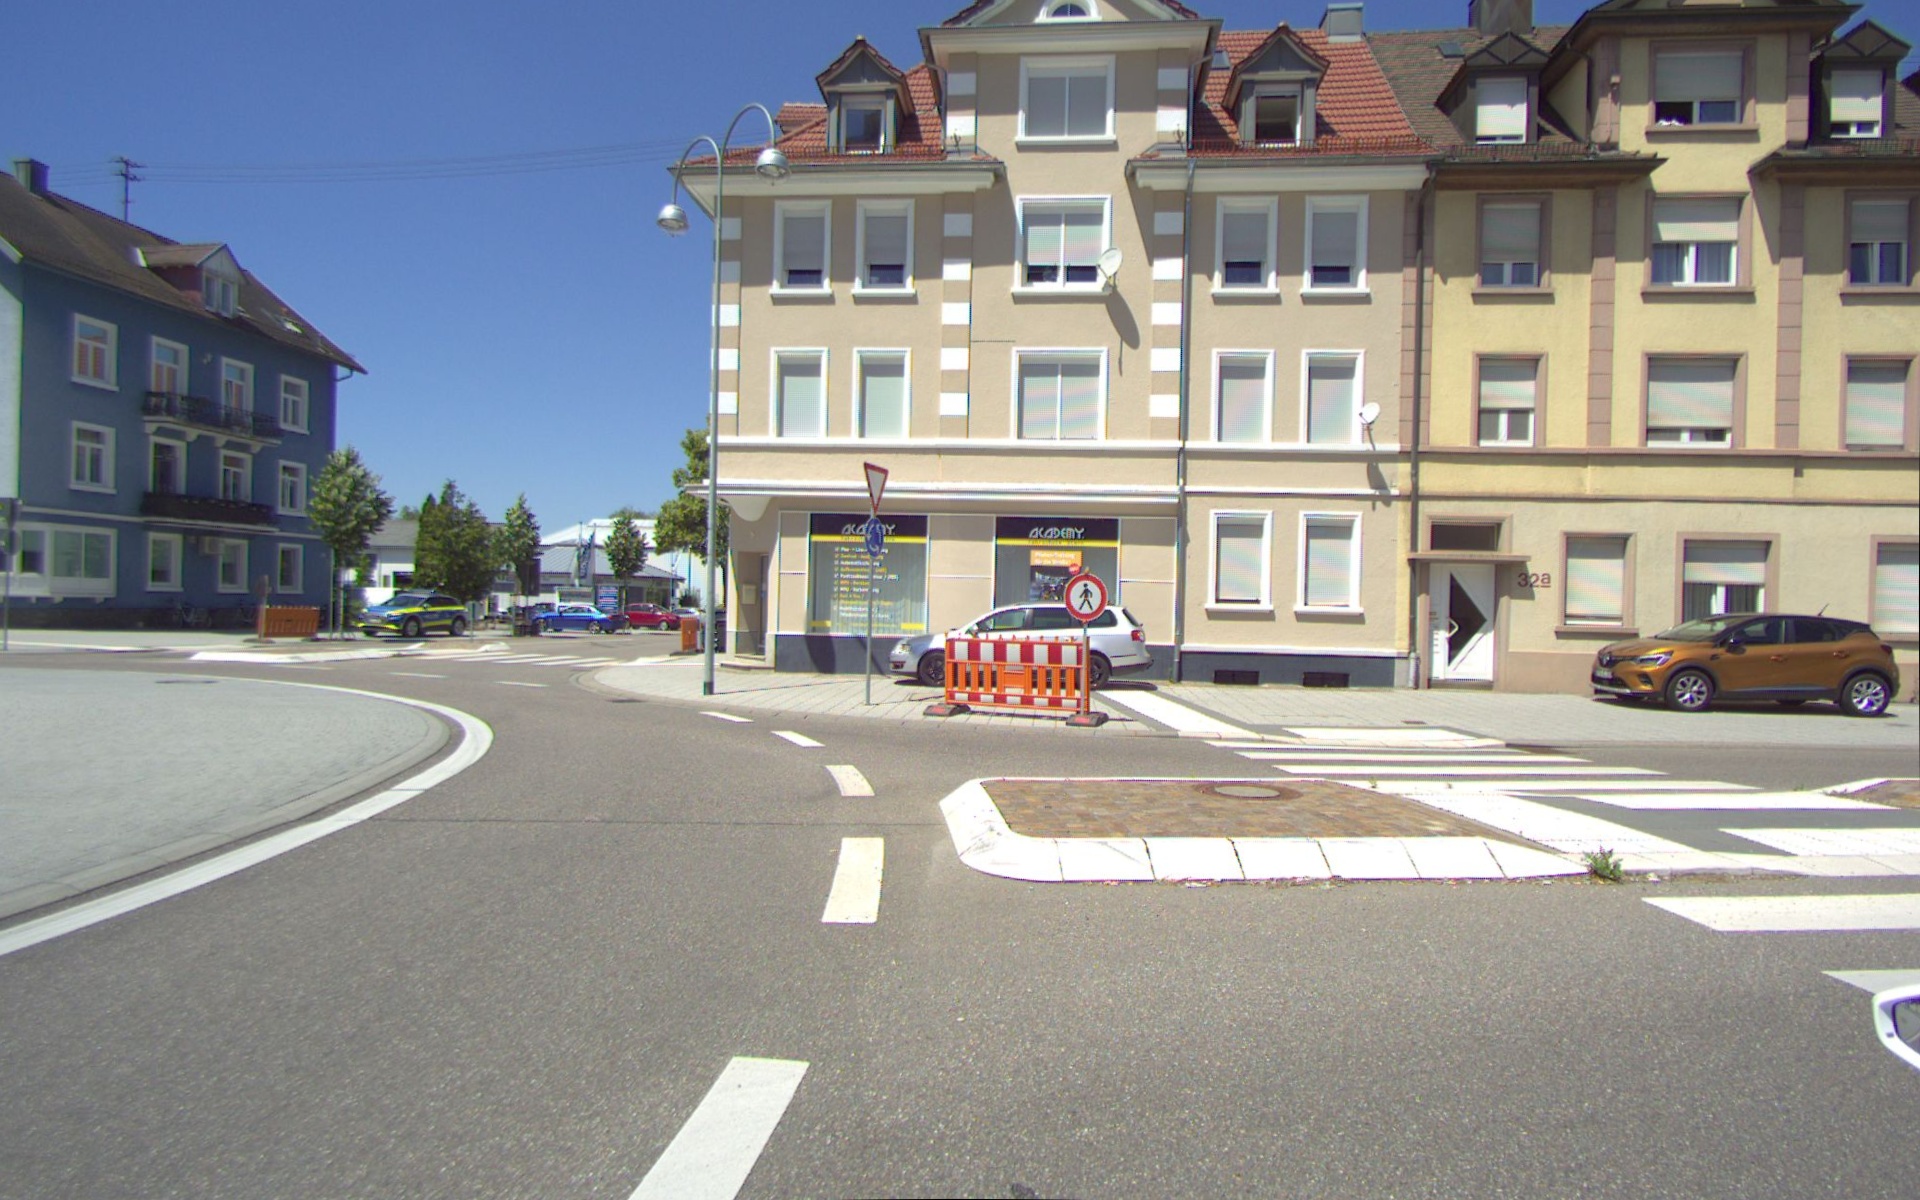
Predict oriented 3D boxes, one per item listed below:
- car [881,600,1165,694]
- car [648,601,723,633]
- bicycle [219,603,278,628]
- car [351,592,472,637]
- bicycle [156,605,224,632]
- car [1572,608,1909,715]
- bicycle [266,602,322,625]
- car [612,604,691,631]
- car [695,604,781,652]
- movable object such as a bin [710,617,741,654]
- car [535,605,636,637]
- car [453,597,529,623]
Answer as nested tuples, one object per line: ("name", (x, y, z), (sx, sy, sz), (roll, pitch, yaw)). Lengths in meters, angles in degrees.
("car", (1.137, 0.796, 18.145), (4.846, 1.523, 1.801), (1, 0, 5))
("car", (-16.936, 1.053, 62.087), (3.919, 1.851, 2.001), (2, -1, 6))
("bicycle", (-27.628, 0.619, 39.027), (0.600, 0.923, 2.088), (1, -1, 7))
("car", (-20.843, 0.556, 38.403), (1.624, 1.590, 4.506), (1, -1, 9))
("bicycle", (-27.595, 0.652, 36.040), (0.600, 0.923, 2.088), (1, -1, 7))
("car", (12.693, 0.955, 16.568), (4.032, 1.562, 1.801), (1, 1, 5))
("bicycle", (-27.332, 0.567, 41.281), (0.600, 0.923, 2.088), (1, -1, 11))
("car", (-18.272, 1.054, 59.538), (3.919, 1.483, 2.002), (2, -1, 8))
("car", (-8.032, 0.996, 36.643), (1.960, 1.600, 4.002), (2, -1, 4))
("movable object such as a bin", (-7.474, 1.124, 32.013), (0.783, 1.164, 0.816), (2, -1, -2))
("car", (-18.439, 1.036, 49.549), (4.196, 1.416, 2.001), (1, -1, 2))
("car", (-29.882, 0.630, 64.052), (3.919, 1.483, 2.002), (2, -1, 8))
